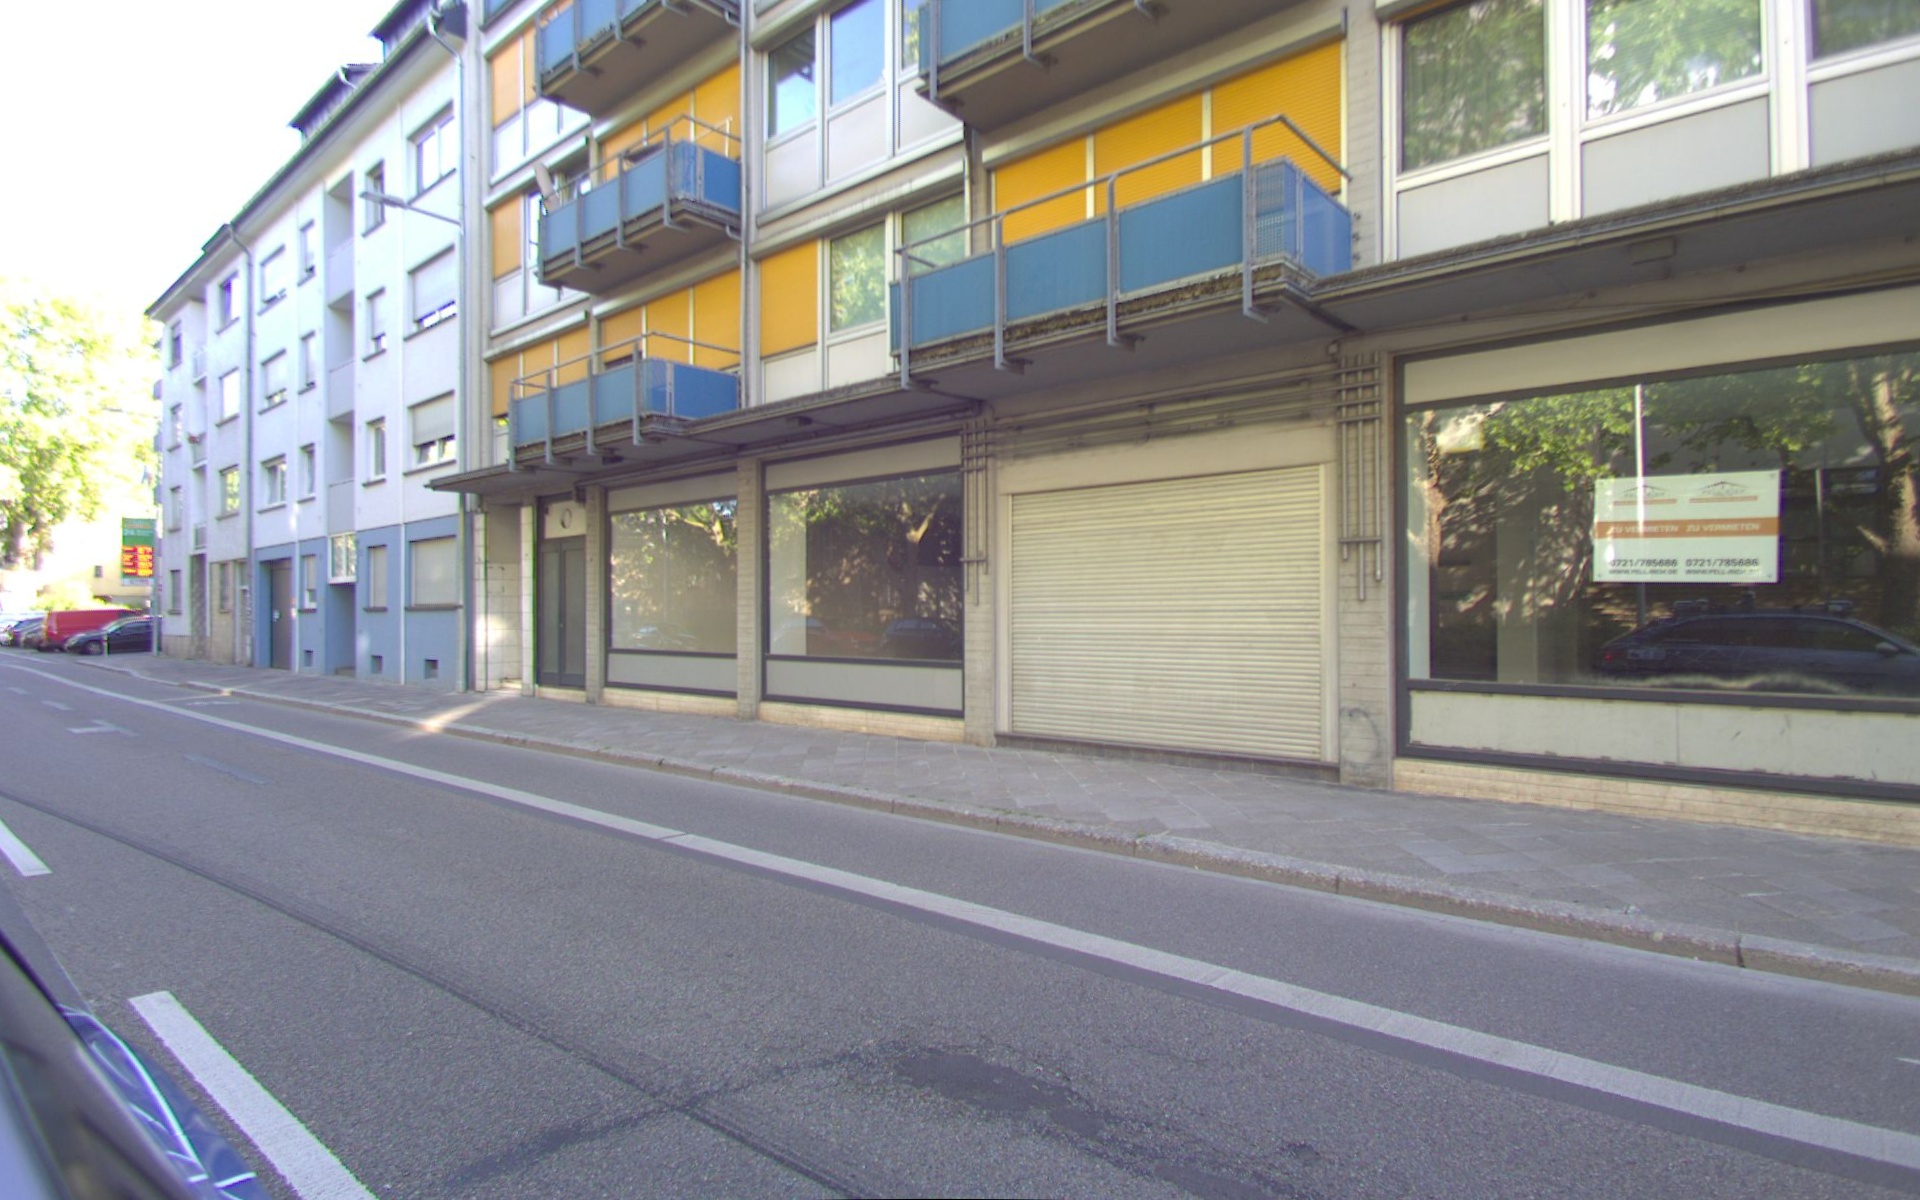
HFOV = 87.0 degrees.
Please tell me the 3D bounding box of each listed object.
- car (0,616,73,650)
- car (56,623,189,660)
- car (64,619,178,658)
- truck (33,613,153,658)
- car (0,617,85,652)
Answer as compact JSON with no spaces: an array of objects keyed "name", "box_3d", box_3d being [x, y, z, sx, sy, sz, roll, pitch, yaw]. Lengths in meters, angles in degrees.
[{"name":"car","box_3d":[-59.344,2.082,64.410,2.000,2.052,4.180,-1,0,43]},{"name":"car","box_3d":[-36.496,1.784,44.168,1.657,1.417,4.269,-1,0,40]},{"name":"car","box_3d":[-38.046,1.720,45.951,1.657,1.583,3.762,-1,0,41]},{"name":"truck","box_3d":[-40.724,1.638,47.584,1.999,1.939,4.040,-1,0,40]},{"name":"car","box_3d":[-56.060,2.054,61.481,2.000,1.971,4.180,-1,0,43]}]
